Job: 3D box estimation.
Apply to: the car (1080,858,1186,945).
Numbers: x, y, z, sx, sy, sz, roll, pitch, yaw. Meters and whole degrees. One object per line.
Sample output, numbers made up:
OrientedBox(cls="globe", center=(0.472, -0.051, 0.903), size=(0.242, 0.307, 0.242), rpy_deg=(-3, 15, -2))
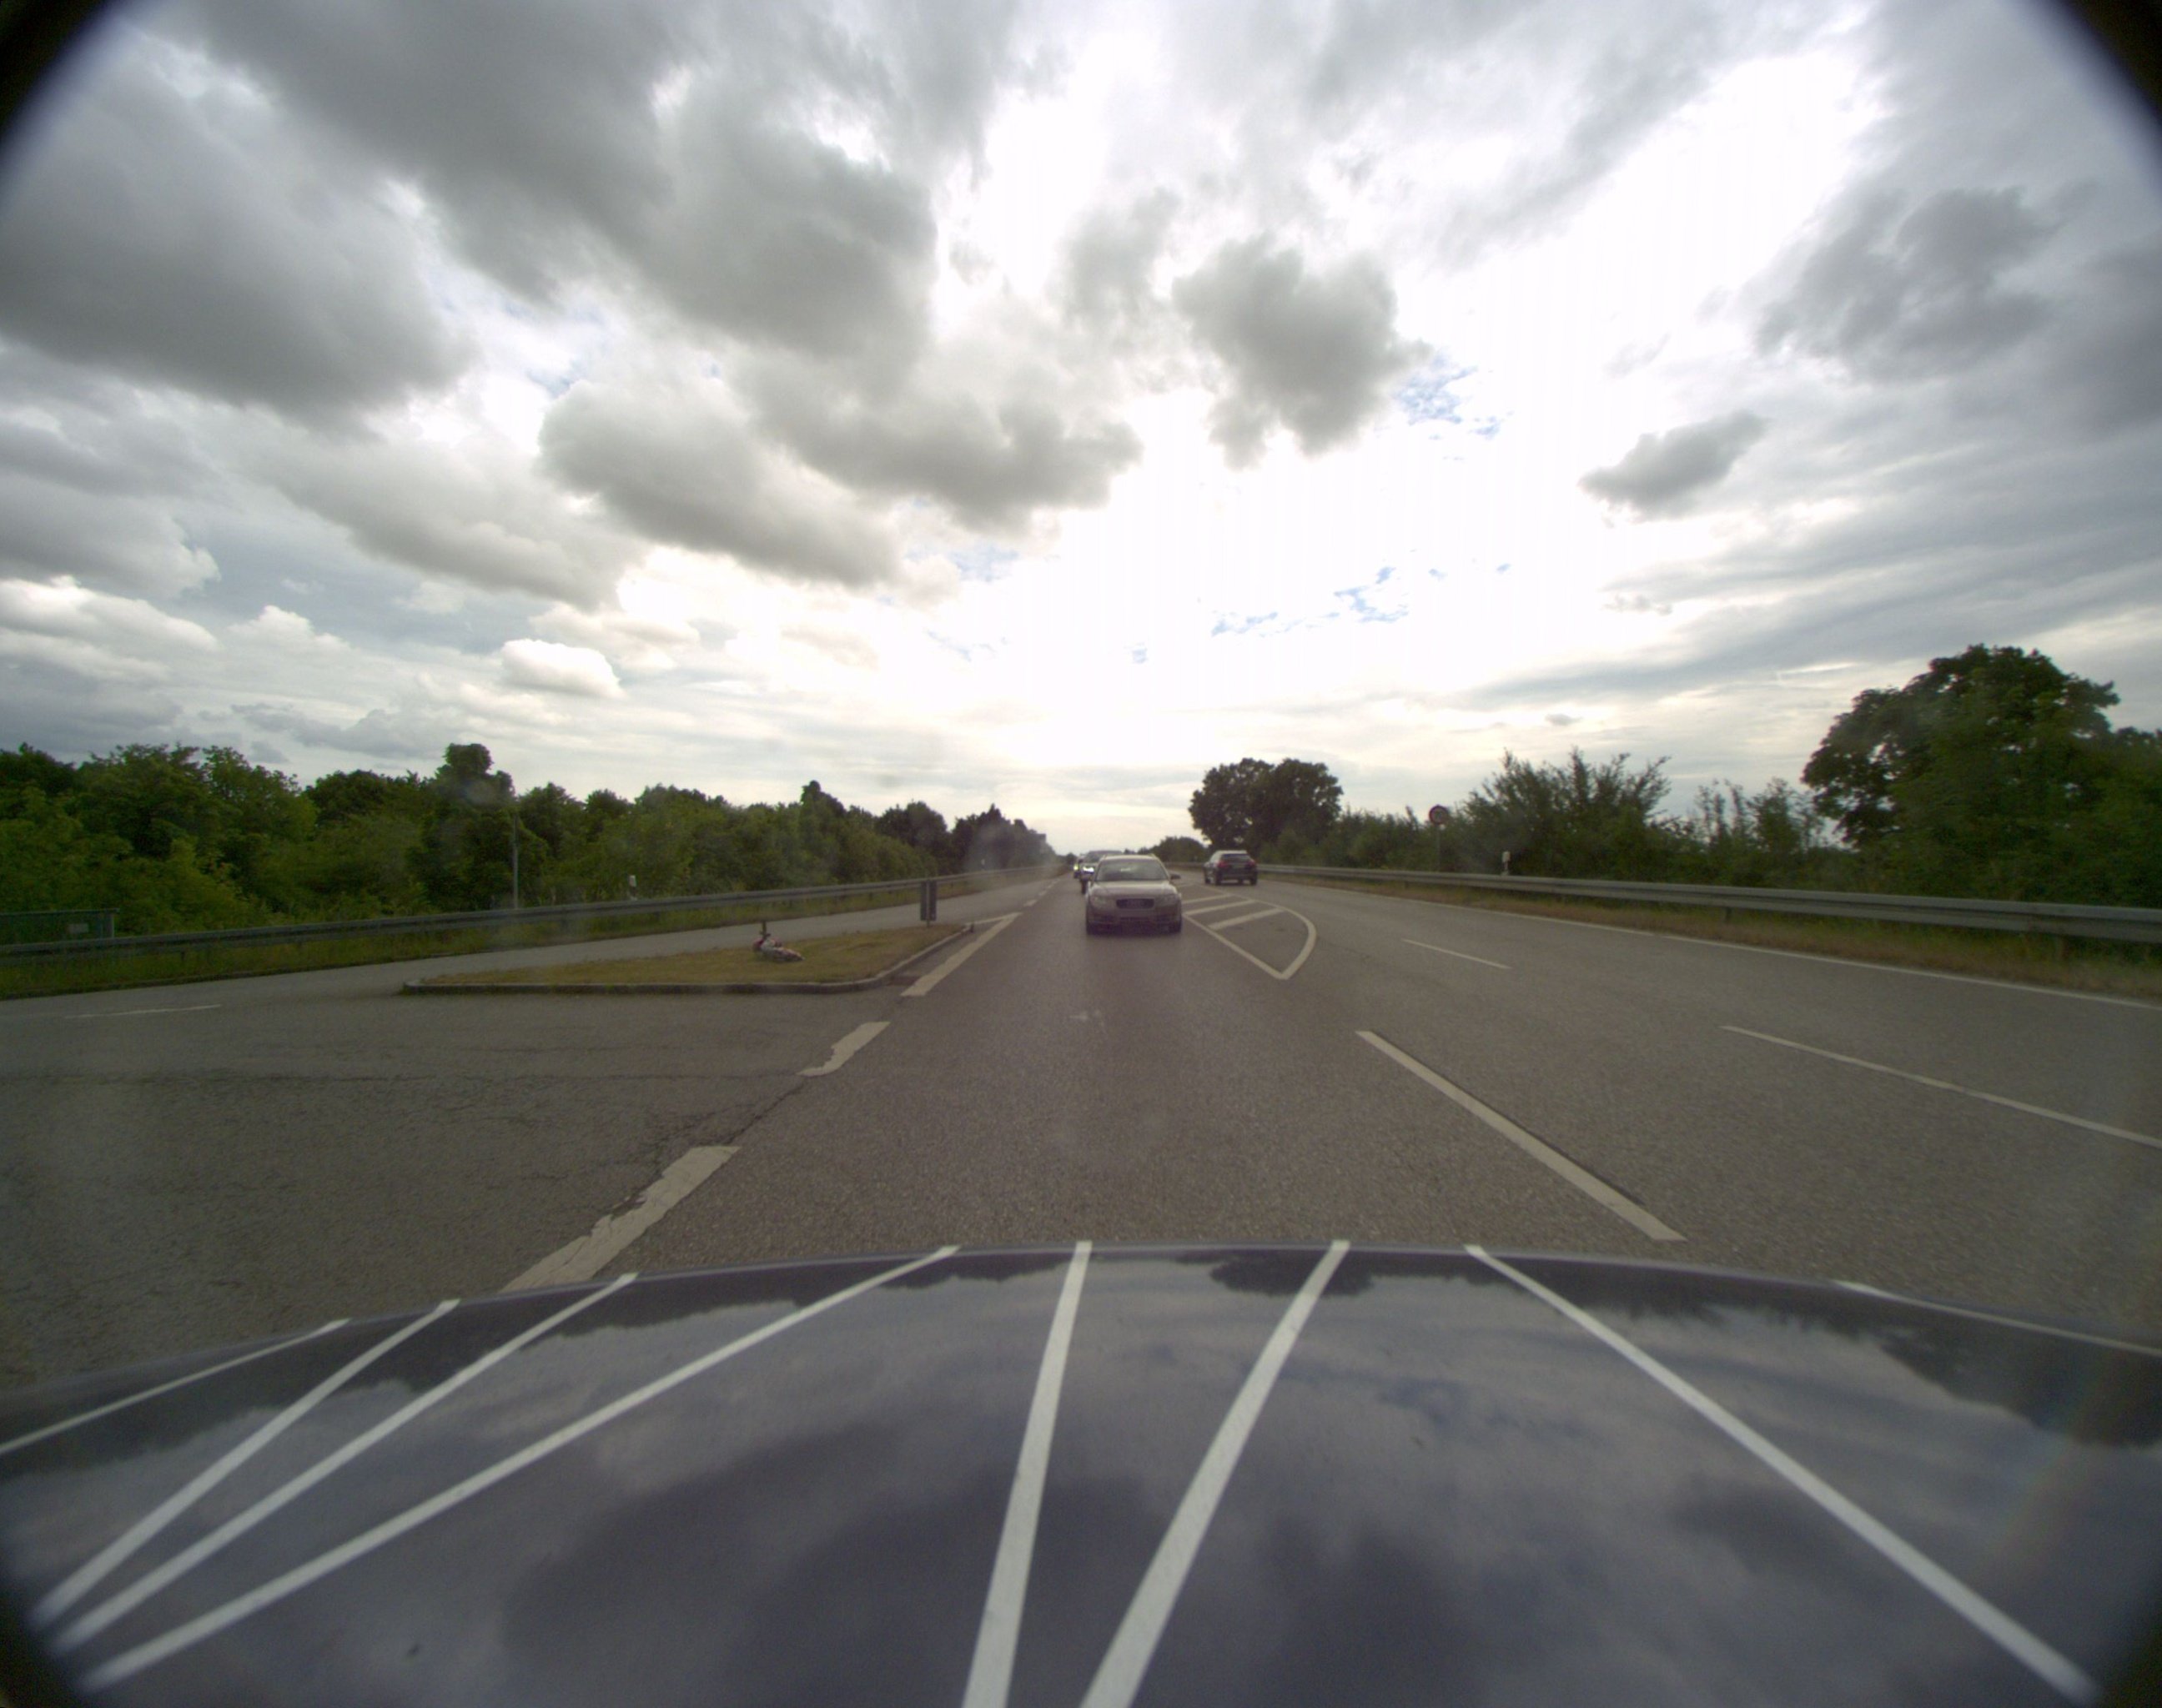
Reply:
OrientedBox(cls="car", center=(0.912, 0.828, 15.028), size=(1.784, 1.441, 4.035), rpy_deg=(-1, 0, 1))

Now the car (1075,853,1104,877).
OrientedBox(cls="car", center=(0.583, 0.726, 51.684), size=(1.834, 1.537, 4.035), rpy_deg=(-1, 0, 1))

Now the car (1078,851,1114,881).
OrientedBox(cls="car", center=(0.822, 0.630, 41.977), size=(1.834, 1.537, 4.035), rpy_deg=(-1, 0, 1))

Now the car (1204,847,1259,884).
OrientedBox(cls="car", center=(6.666, 0.482, 33.999), size=(1.715, 1.514, 4.000), rpy_deg=(-1, 1, 1))

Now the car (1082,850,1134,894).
OrientedBox(cls="car", center=(1.004, 0.666, 29.410), size=(1.834, 1.537, 4.035), rpy_deg=(-1, 0, 1))
